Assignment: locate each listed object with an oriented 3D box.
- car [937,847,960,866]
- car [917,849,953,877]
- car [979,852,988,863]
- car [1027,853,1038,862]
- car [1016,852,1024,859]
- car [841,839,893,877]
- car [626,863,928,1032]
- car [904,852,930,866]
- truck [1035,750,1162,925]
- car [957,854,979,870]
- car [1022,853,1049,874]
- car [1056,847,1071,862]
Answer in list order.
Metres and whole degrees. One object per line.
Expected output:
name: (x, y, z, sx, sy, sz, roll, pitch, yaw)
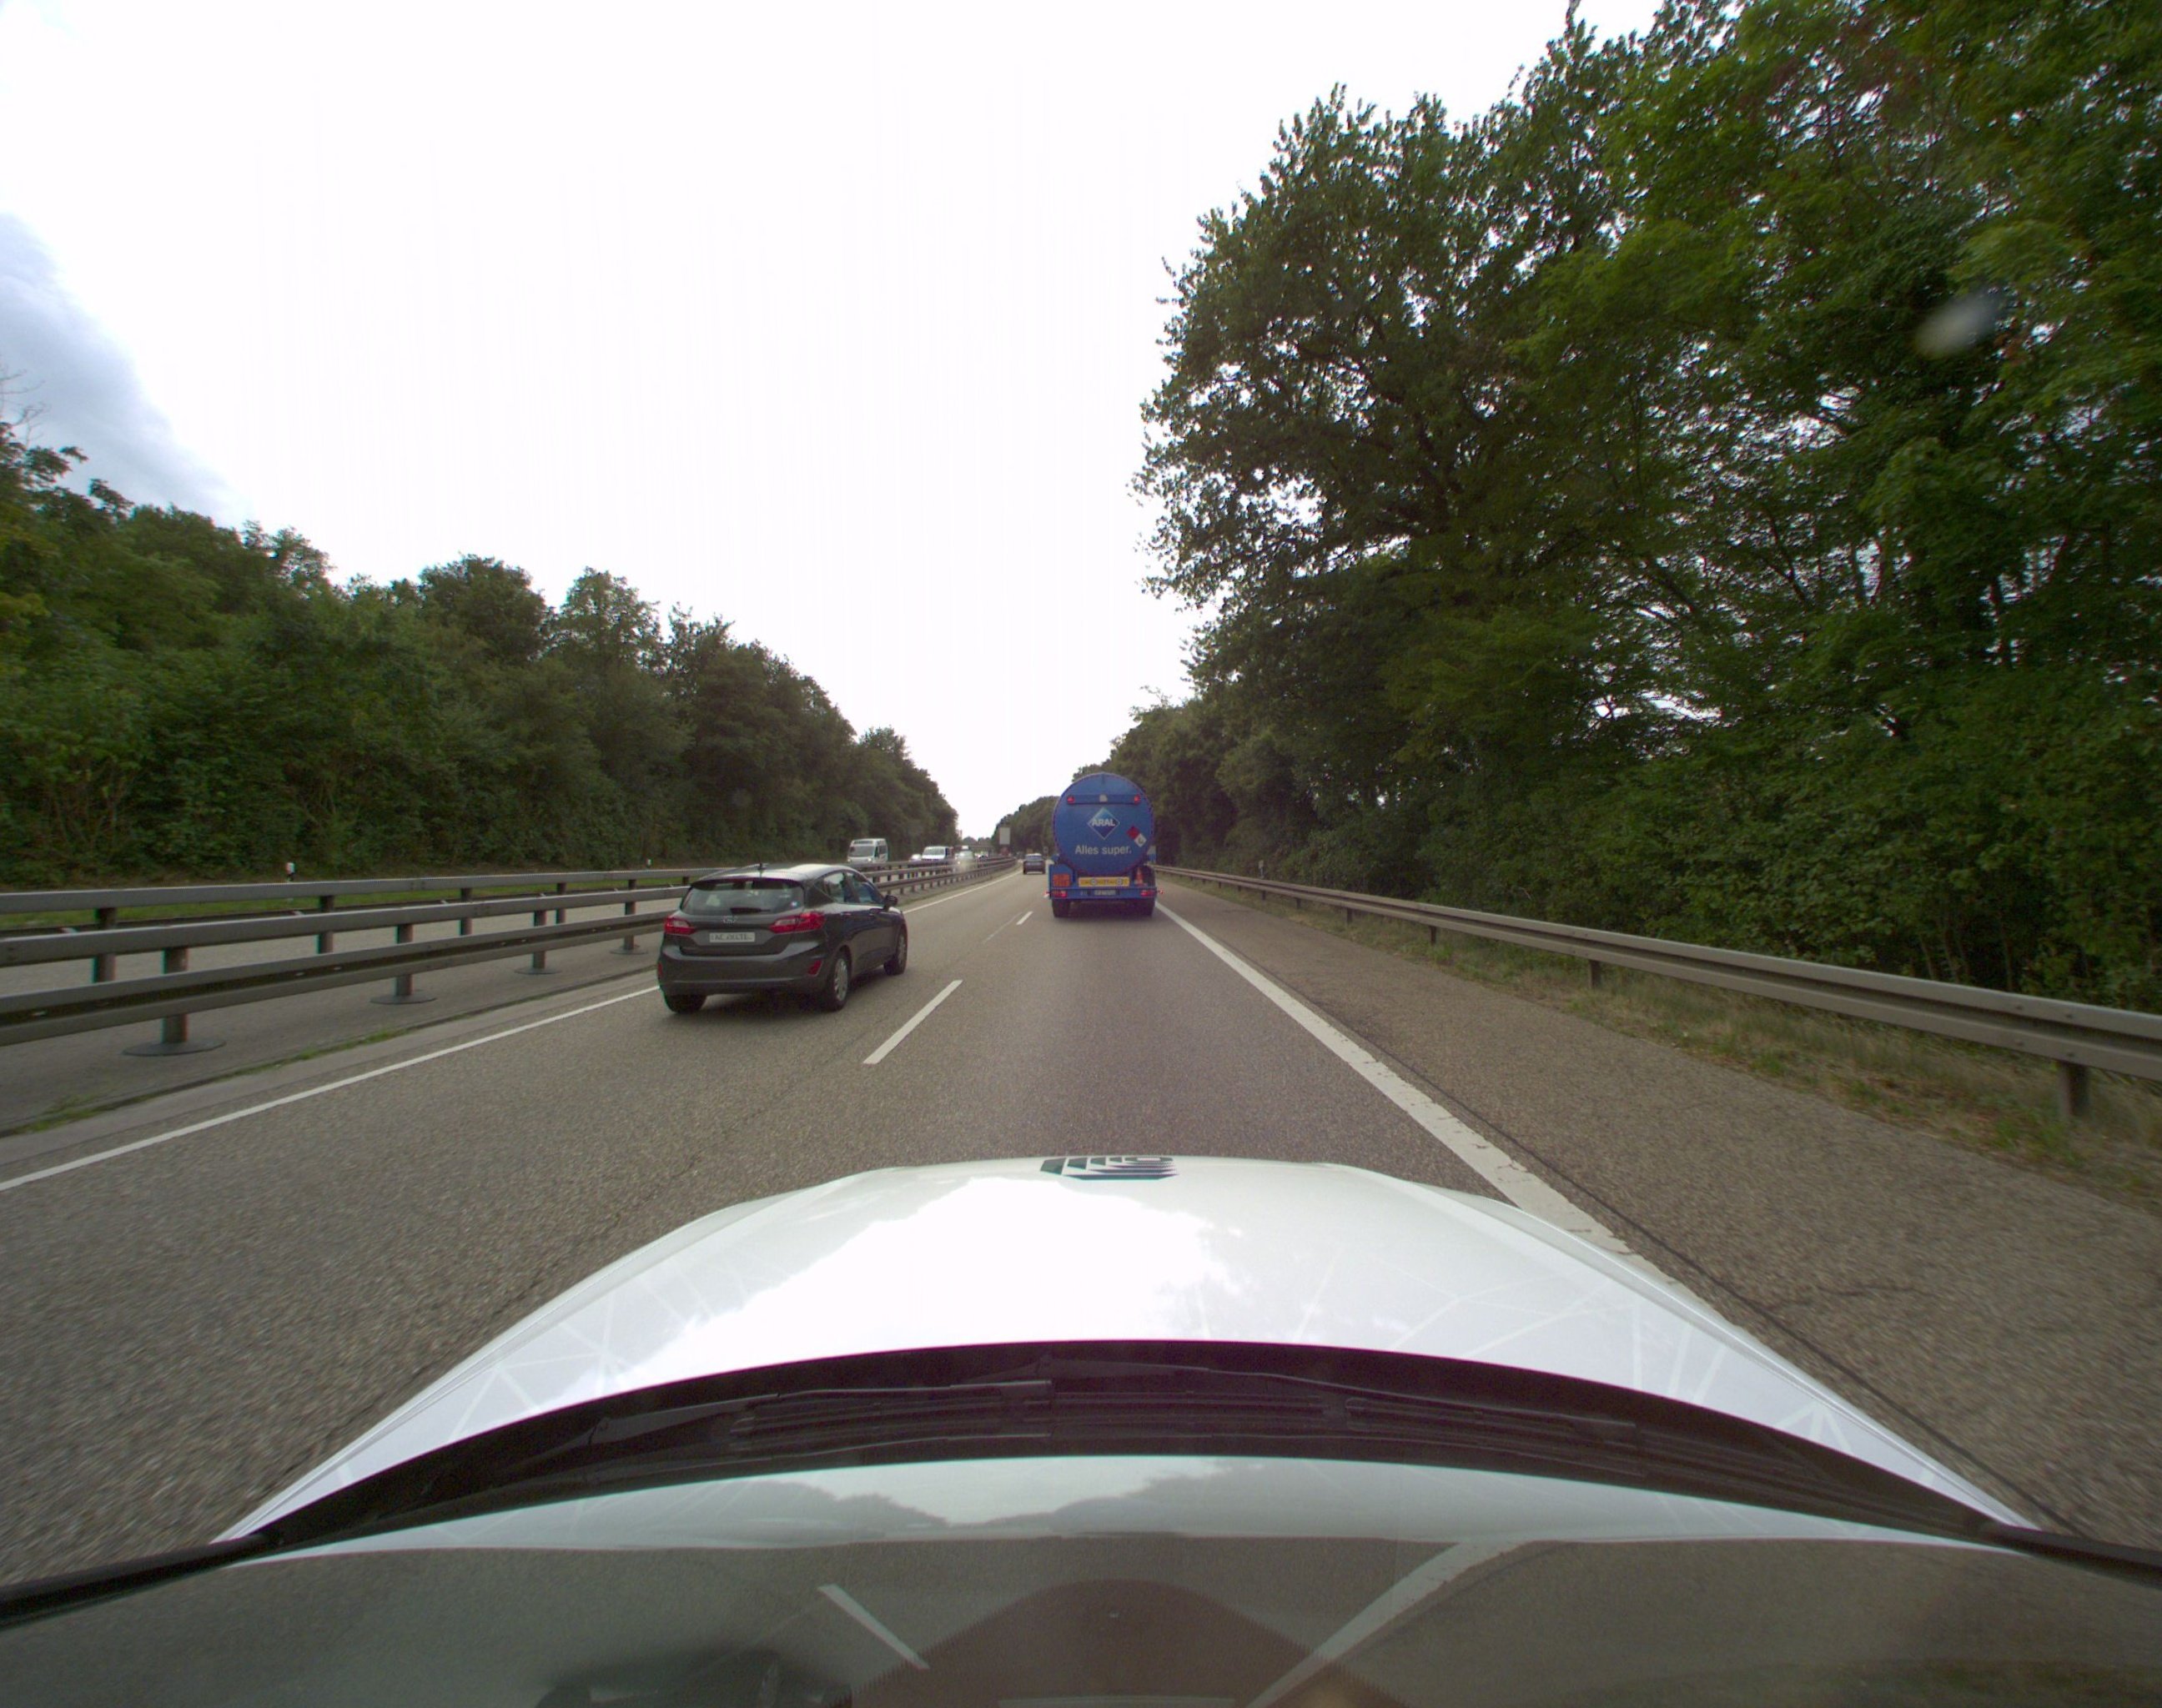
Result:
car: (-16.113, 0.328, 99.209, 2.060, 2.256, 5.371, -1, 0, -1)
car: (-11.274, 0.687, 63.204, 1.816, 1.983, 5.056, -1, 0, 0)
car: (-21.146, 0.715, 176.509, 1.933, 2.321, 5.293, -1, 0, -6)
car: (-9.075, 0.639, 152.320, 1.952, 1.567, 3.992, -1, 0, -6)
car: (-15.205, 0.359, 203.037, 1.991, 1.552, 3.991, -1, 0, -7)
car: (-15.548, 0.300, 59.498, 2.304, 2.611, 5.552, -1, 0, 0)
car: (-3.165, 0.865, 9.641, 1.820, 1.458, 4.638, -1, 0, 0)
car: (-16.253, 0.476, 80.988, 1.769, 1.296, 4.105, -1, 0, -1)
truck: (0.496, -0.367, 21.942, 2.745, 3.846, 7.690, -1, 0, 1)
car: (-11.731, 0.814, 84.862, 1.776, 1.563, 4.013, -1, 0, -1)
car: (-3.665, 0.752, 65.791, 1.819, 1.609, 4.169, -1, 0, 2)
car: (-2.674, 0.045, 122.593, 1.986, 2.244, 4.001, -1, 0, 1)
